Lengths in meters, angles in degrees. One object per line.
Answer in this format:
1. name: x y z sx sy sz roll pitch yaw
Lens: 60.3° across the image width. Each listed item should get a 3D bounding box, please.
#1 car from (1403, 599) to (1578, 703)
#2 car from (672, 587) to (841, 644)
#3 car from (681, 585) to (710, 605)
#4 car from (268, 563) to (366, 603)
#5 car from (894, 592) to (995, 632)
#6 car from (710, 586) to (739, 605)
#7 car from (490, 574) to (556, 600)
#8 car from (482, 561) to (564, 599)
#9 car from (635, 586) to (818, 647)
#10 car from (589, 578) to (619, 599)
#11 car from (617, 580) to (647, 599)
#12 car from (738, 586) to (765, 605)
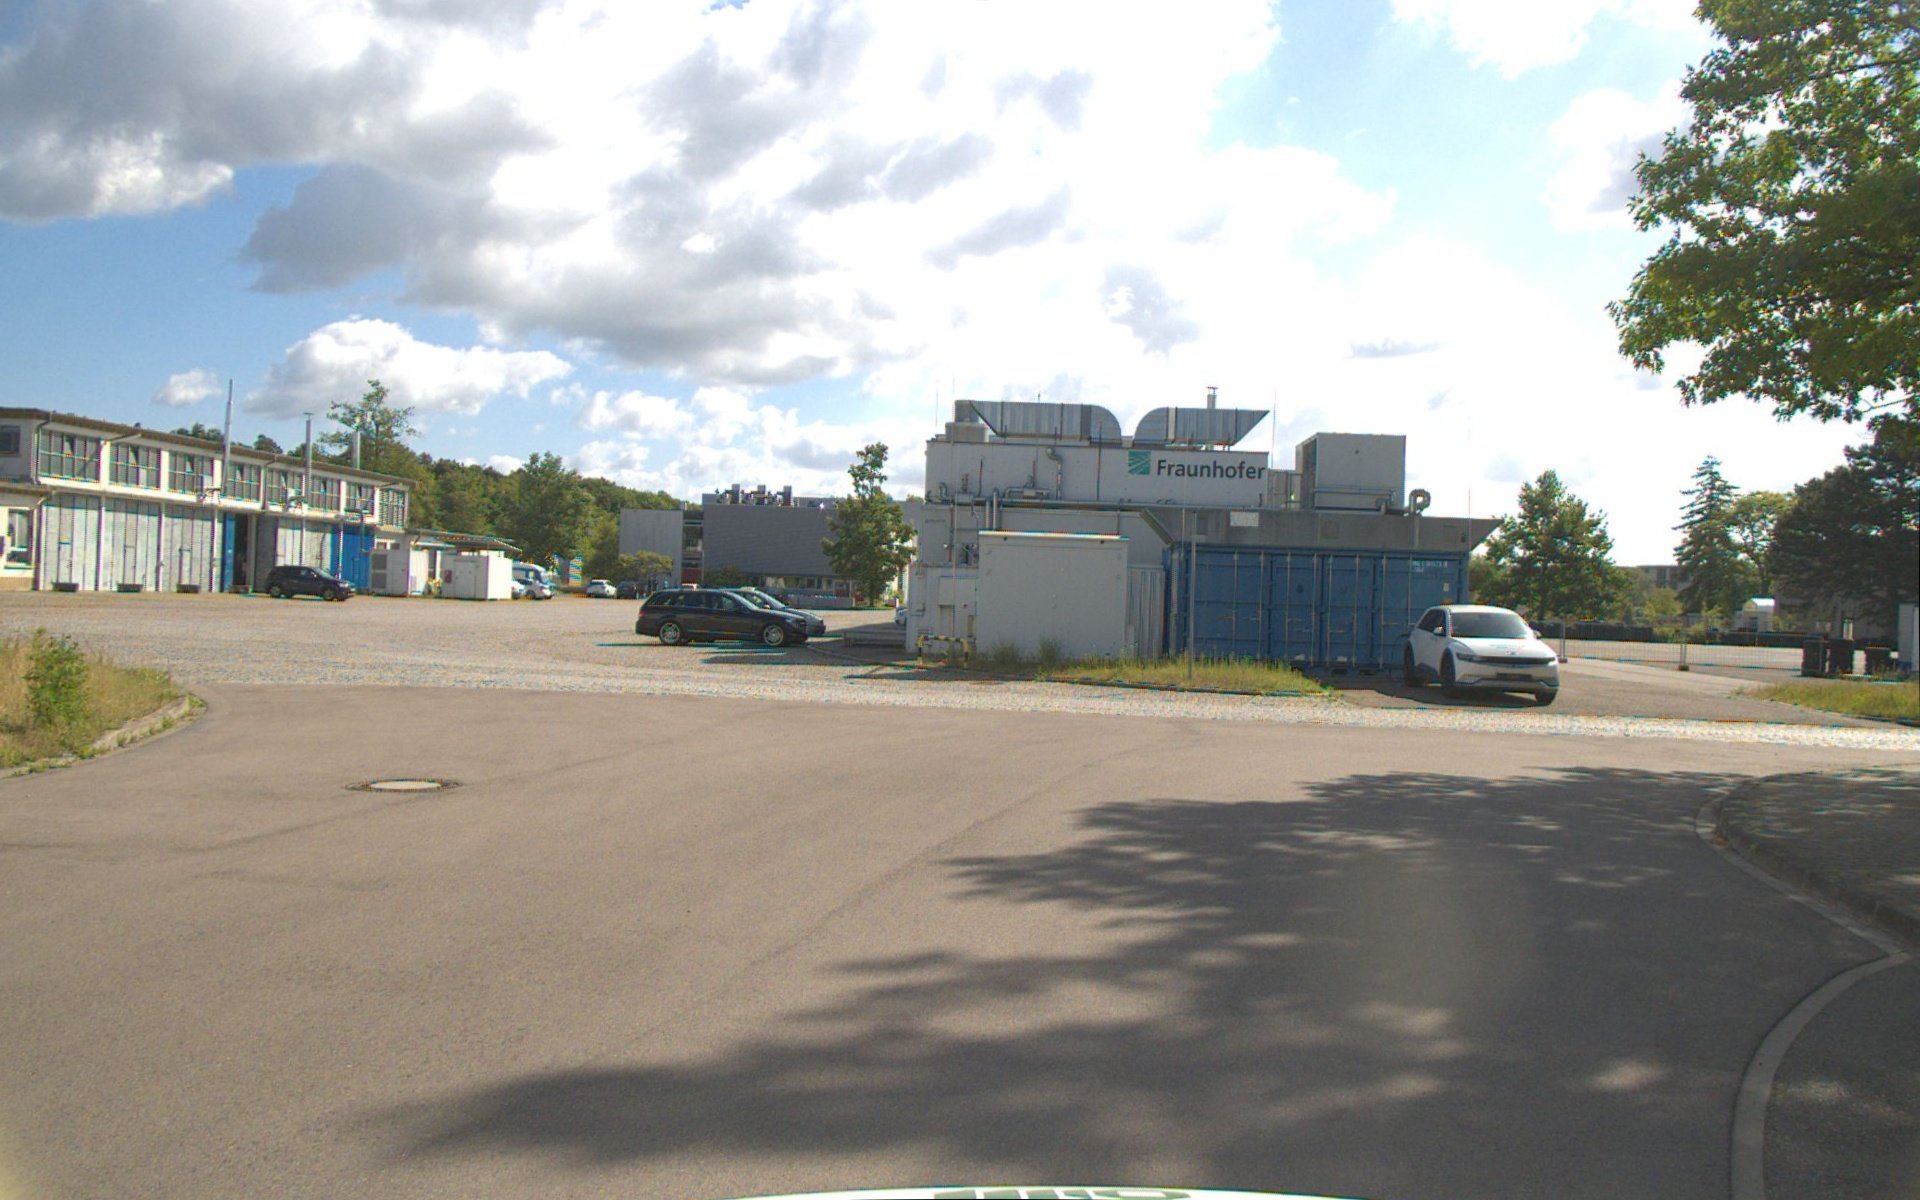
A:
1. car: 9.637 0.872 30.399 1.940 1.621 4.342 2 1 2
2. car: -5.734 0.461 46.923 4.435 1.468 1.904 2 -2 3
3. car: -22.587 -0.430 141.448 1.839 1.719 4.035 0 0 0
4. car: -31.751 -0.841 81.735 4.077 1.695 1.784 3 0 1
5. car: -0.639 0.525 71.227 4.190 1.597 1.988 2 -2 3
6. car: -20.082 -0.356 141.191 1.839 1.564 4.035 0 0 0
7. car: -30.403 -0.908 115.161 4.023 1.659 1.809 2 0 7
8. car: -31.216 -1.391 118.142 5.147 2.484 2.051 2 0 7
9. car: -6.115 0.456 43.677 4.435 1.468 1.988 2 -2 3
10. car: -30.442 -0.971 141.654 1.809 1.698 4.131 0 0 -2
11. car: -28.046 -0.908 141.434 1.839 1.564 4.034 0 0 -2
12. car: -17.794 -0.358 141.317 1.839 1.564 4.035 0 0 0
